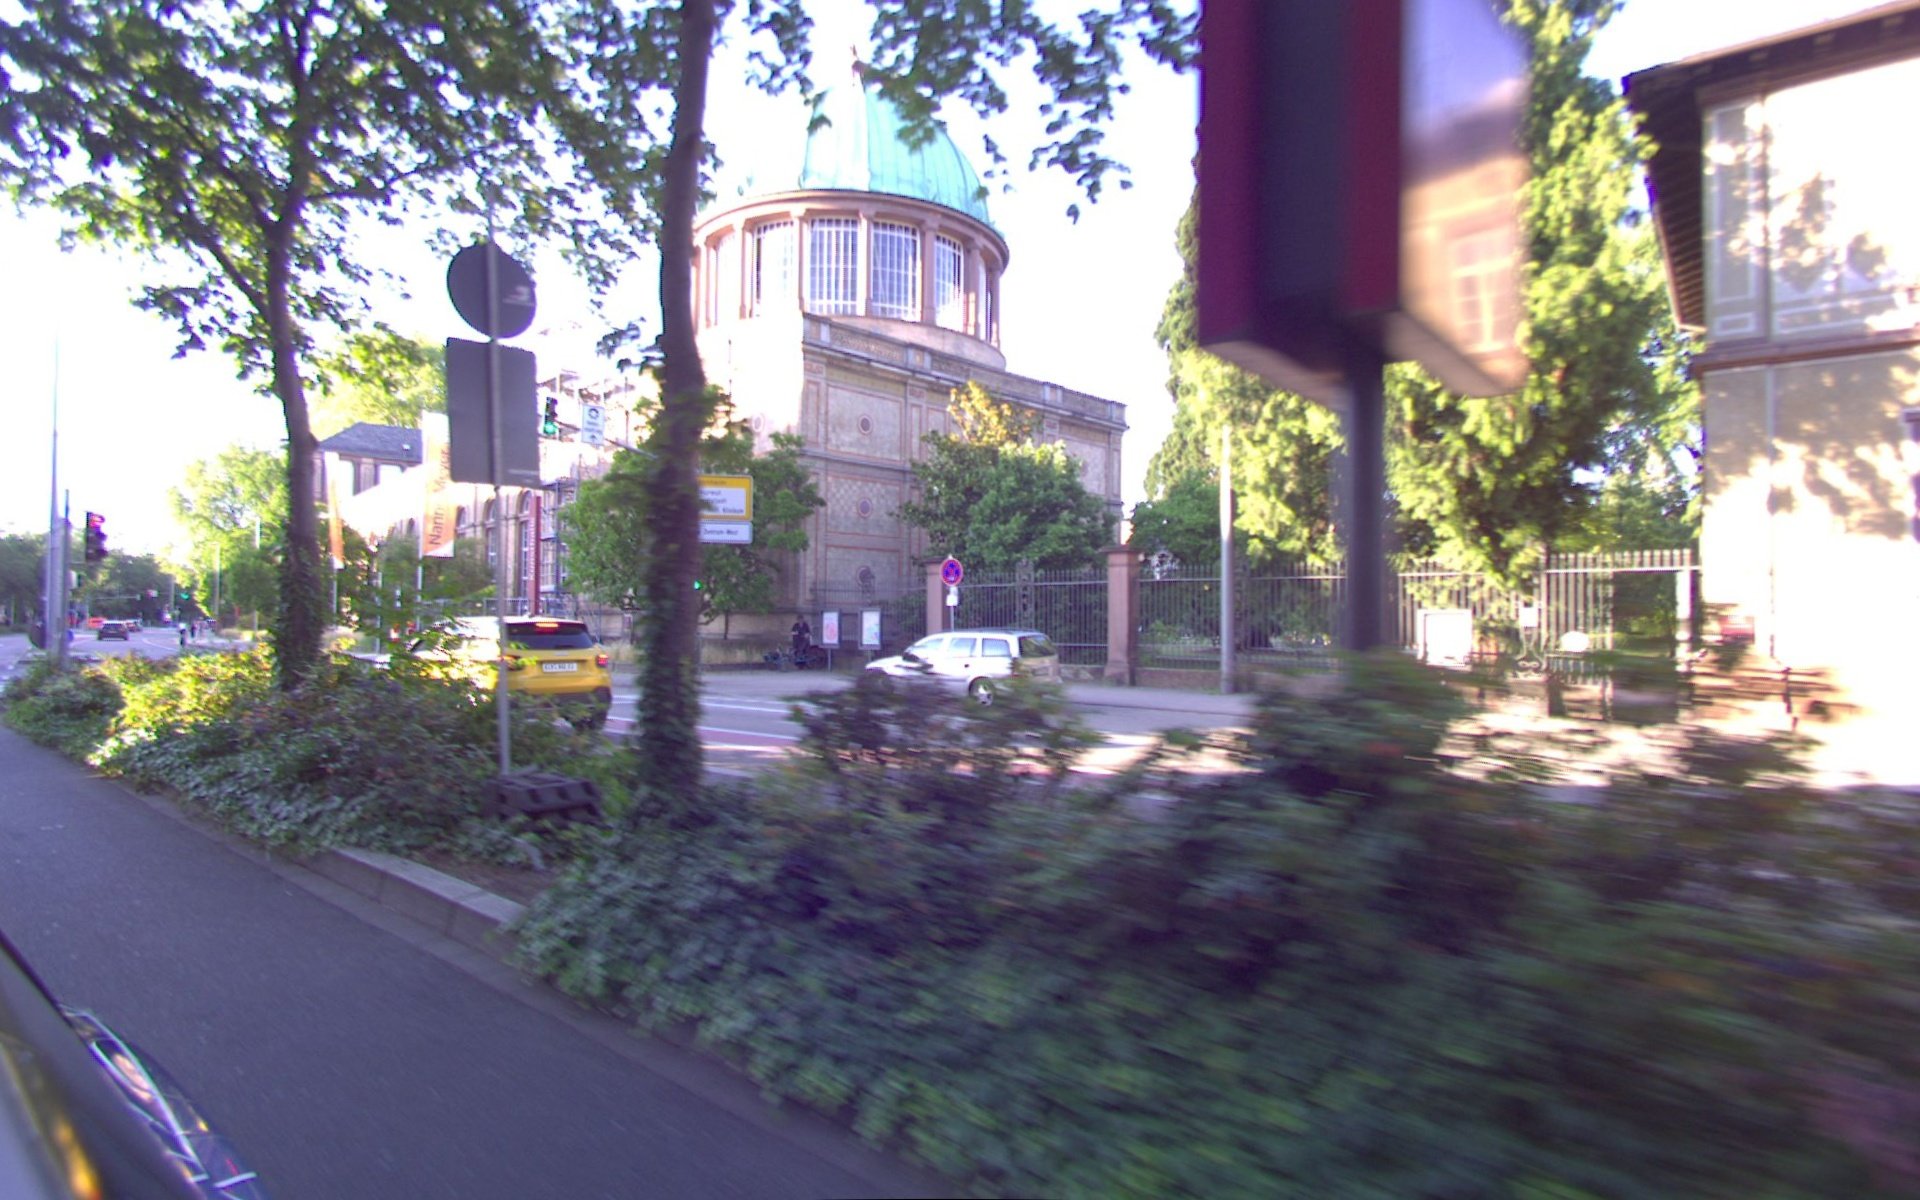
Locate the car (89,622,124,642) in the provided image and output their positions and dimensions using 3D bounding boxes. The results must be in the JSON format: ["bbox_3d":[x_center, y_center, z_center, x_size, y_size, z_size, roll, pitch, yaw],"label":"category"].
[{"bbox_3d":[-65.820,2.445,78.055,1.801,1.519,4.431,2,-2,-43],"label":"car"}]

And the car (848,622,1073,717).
[{"bbox_3d":[-0.077,1.282,19.986,4.366,1.559,1.727,1,0,40],"label":"car"}]

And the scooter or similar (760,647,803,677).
[{"bbox_3d":[-4.977,1.724,28.191,1.028,0.783,0.670,-1,-2,41],"label":"scooter or similar"}]

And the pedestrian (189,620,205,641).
[{"bbox_3d":[-64.679,2.586,85.809,0.795,1.751,0.852,1,-2,-17],"label":"pedestrian"}]

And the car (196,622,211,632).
[{"bbox_3d":[-132.582,4.673,177.384,1.890,1.697,4.010,1,-2,-34],"label":"car"}]

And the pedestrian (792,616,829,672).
[{"bbox_3d":[-4.334,1.266,29.319,0.762,1.591,0.727,-2,-2,42],"label":"pedestrian"}]

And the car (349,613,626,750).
[{"bbox_3d":[-6.419,0.987,13.557,4.116,1.559,1.826,-1,-3,41],"label":"car"}]

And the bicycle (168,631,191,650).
[{"bbox_3d":[-47.300,2.459,61.319,1.932,1.099,0.745,-1,-4,42],"label":"bicycle"}]

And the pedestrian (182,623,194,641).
[{"bbox_3d":[-65.116,2.697,85.355,0.665,1.524,0.837,-3,-1,-40],"label":"pedestrian"}]

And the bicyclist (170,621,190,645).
[{"bbox_3d":[-47.331,2.009,61.382,0.937,1.471,0.739,-1,-4,42],"label":"bicyclist"}]
